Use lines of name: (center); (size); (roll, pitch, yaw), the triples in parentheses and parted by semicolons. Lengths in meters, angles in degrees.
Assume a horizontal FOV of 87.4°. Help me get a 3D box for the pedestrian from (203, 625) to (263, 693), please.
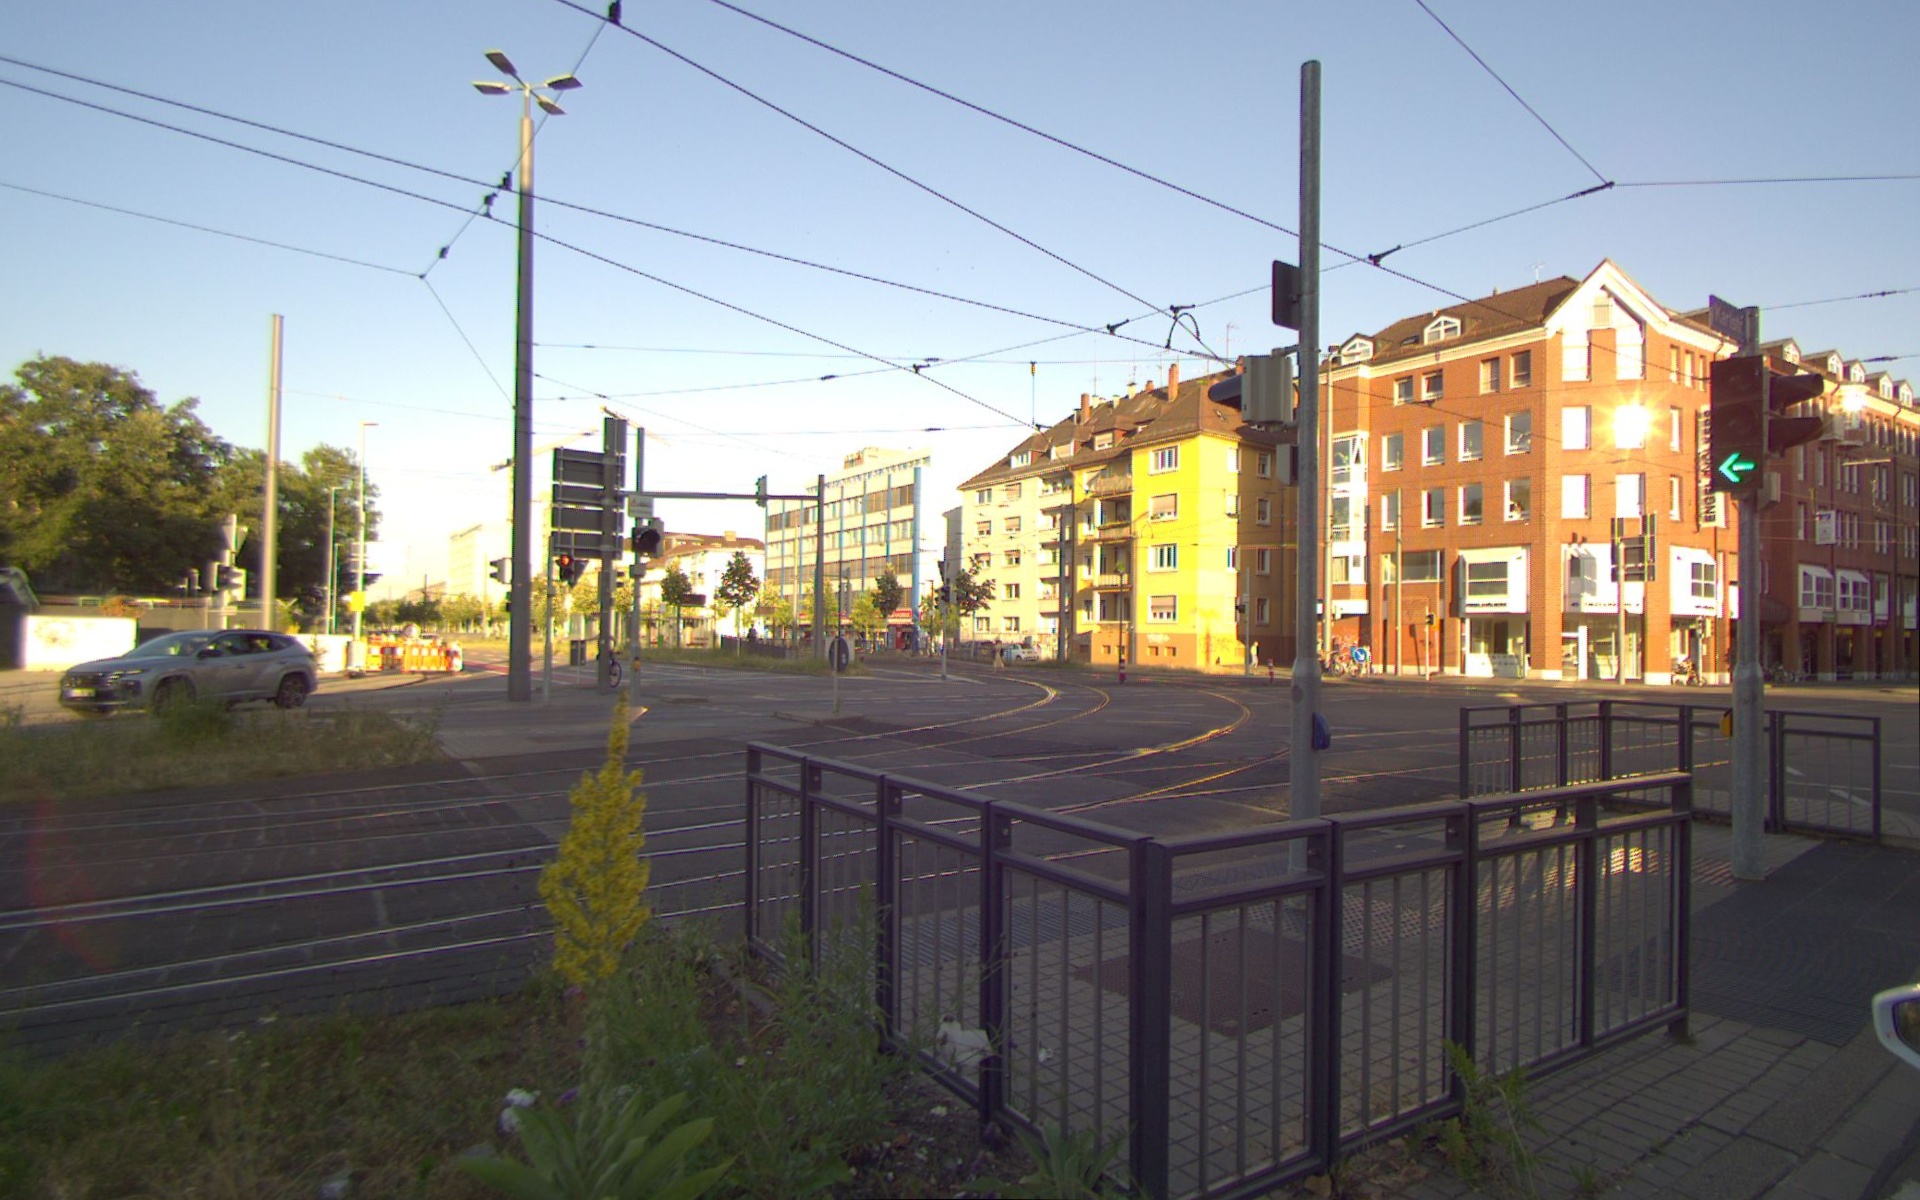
pedestrian: (-19.346, 1.555, 26.759); (0.805, 1.758, 0.944); (0, -2, 14)

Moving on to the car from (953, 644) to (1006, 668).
car: (1.517, 4.511, 81.350); (2.099, 1.727, 4.306); (4, -3, -36)

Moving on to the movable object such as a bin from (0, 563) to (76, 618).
movable object such as a bin: (-38.354, -0.377, 39.644); (4.928, 2.040, 1.999); (1, -2, -4)

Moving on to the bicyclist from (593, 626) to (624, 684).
bicyclist: (-10.540, 1.644, 30.095); (0.592, 1.693, 0.739); (3, -3, -42)

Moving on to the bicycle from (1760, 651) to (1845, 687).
bicycle: (44.238, 3.590, 52.795); (1.057, 1.748, 3.280); (2, -2, -32)

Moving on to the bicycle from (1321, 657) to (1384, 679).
bicycle: (20.472, 3.545, 52.475); (0.924, 1.030, 3.028); (3, -3, -40)

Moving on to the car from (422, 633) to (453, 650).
car: (-43.968, 3.470, 84.626); (1.889, 1.424, 4.283); (1, -2, -22)

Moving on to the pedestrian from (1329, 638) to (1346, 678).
pedestrian: (16.323, 2.502, 43.433); (0.415, 1.730, 0.511); (2, -2, -33)

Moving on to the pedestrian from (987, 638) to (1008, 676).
pedestrian: (1.554, 2.356, 41.401); (0.696, 1.561, 0.634); (1, -2, -18)

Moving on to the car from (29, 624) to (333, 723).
car: (-14.986, 1.369, 19.719); (1.910, 1.682, 4.540); (1, -2, 11)

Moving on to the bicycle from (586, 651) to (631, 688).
bicycle: (-10.541, 2.073, 30.080); (0.592, 1.036, 1.825); (3, -3, -41)

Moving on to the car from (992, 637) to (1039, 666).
car: (4.208, 3.905, 76.915); (1.722, 1.439, 3.508); (0, 10, -36)

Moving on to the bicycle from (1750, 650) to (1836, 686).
bicycle: (43.252, 3.522, 52.194); (1.057, 1.748, 3.281); (2, -2, -30)

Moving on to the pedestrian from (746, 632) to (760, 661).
pedestrian: (-11.590, 2.577, 56.123); (0.559, 1.611, 0.684); (2, -2, -31)
